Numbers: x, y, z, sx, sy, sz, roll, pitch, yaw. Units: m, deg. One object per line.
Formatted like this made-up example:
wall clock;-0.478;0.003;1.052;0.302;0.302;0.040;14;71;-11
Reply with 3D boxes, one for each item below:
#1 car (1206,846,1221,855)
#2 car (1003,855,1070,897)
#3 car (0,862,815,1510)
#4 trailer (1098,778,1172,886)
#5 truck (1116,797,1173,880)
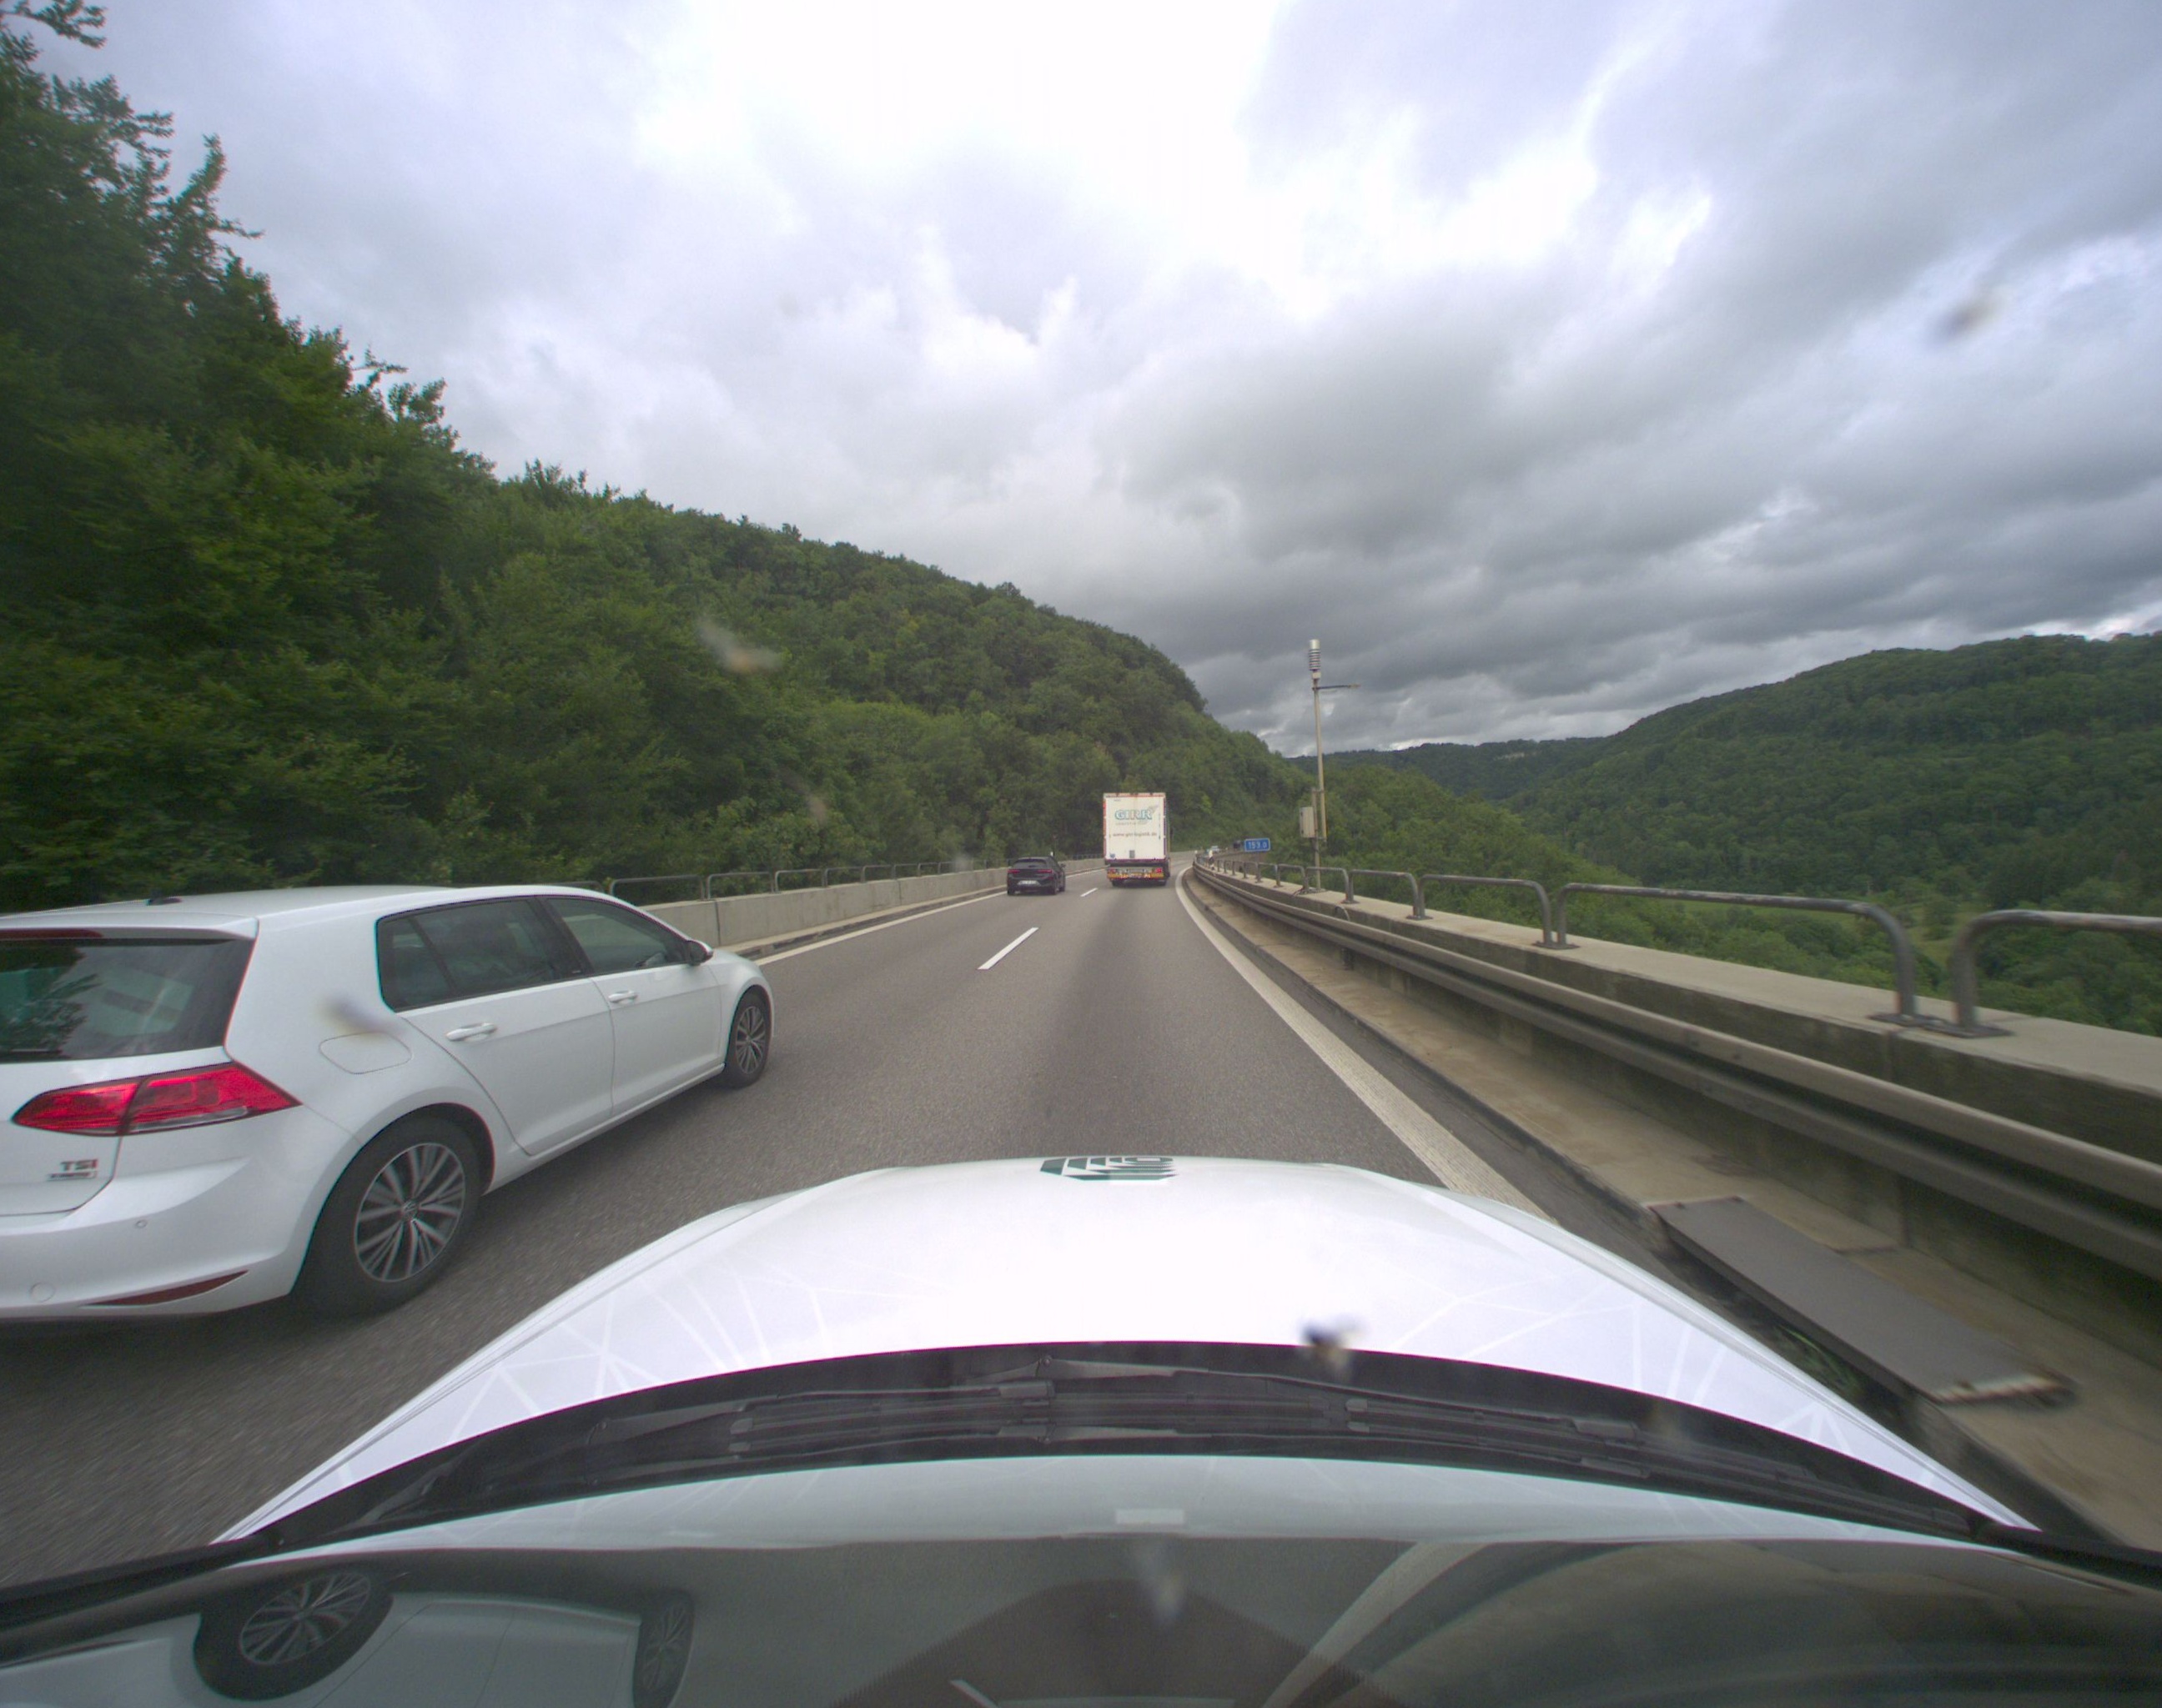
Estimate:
car;24.238;-0.609;149.104;1.977;1.565;4.019;-2;-1;19
car;-1.587;0.790;30.970;1.764;1.461;4.590;-1;0;7
car;-3.139;0.811;4.242;1.838;1.482;4.630;-1;0;2
trailer;2.880;-0.824;39.333;2.798;4.302;12.268;-2;-1;7
truck;3.671;-0.777;45.812;2.798;4.302;6.270;-2;-1;7
